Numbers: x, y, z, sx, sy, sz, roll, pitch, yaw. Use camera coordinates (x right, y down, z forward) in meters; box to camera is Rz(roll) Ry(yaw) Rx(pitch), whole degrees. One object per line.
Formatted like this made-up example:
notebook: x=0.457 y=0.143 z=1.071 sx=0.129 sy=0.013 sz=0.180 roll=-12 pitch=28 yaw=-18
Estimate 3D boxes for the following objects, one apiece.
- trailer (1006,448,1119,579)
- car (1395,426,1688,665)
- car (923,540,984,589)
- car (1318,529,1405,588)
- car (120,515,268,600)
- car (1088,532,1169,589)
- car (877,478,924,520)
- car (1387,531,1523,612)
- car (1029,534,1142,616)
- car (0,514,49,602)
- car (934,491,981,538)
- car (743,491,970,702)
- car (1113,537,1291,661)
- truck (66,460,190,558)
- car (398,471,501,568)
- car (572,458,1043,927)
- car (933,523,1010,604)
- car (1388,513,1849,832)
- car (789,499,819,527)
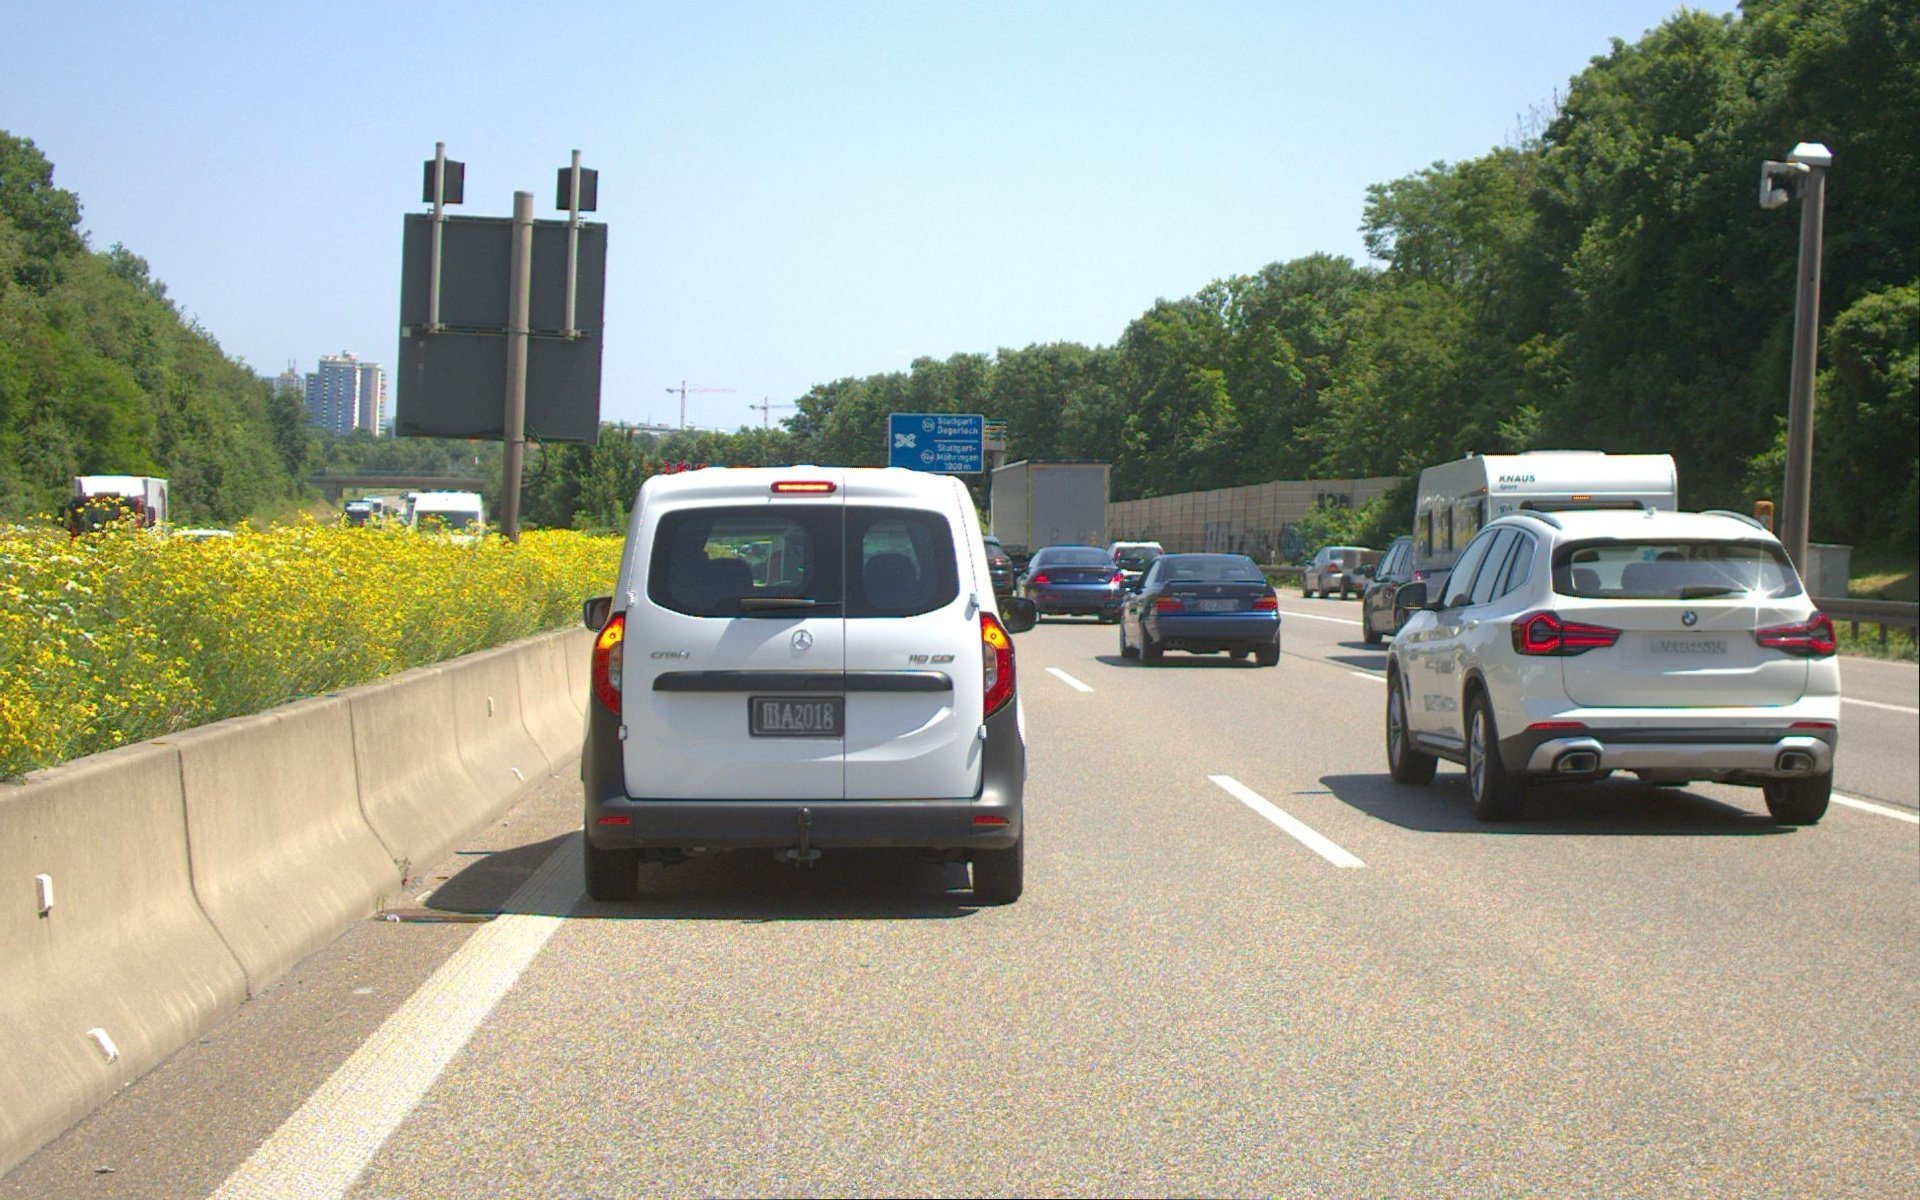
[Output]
trailer: x=3.203 y=-2.747 z=110.189 sx=3.082 sy=3.972 sz=10.324 roll=1 pitch=1 yaw=-1
car: x=7.187 y=-0.703 z=43.271 sx=2.479 sy=2.756 sz=6.220 roll=1 pitch=1 yaw=-1
car: x=-0.211 y=-1.126 z=107.700 sx=1.824 sy=1.442 sz=4.000 roll=1 pitch=1 yaw=-1
car: x=10.692 y=-1.118 z=91.694 sx=1.788 sy=1.514 sz=4.000 roll=1 pitch=1 yaw=-1
car: x=-14.656 y=-0.833 z=65.985 sx=1.993 sy=1.569 sz=4.000 roll=1 pitch=1 yaw=-1
car: x=4.346 y=-1.046 z=89.248 sx=1.824 sy=1.419 sz=4.000 roll=1 pitch=1 yaw=-1
car: x=-2.912 y=-4.922 z=167.944 sx=1.993 sy=2.007 sz=4.001 roll=0 pitch=1 yaw=-5
car: x=8.999 y=-0.543 z=62.791 sx=1.824 sy=1.419 sz=4.000 roll=1 pitch=1 yaw=-1
car: x=2.260 y=-0.480 z=62.694 sx=1.824 sy=1.419 sz=4.000 roll=1 pitch=1 yaw=-1
car: x=-18.059 y=-0.790 z=62.457 sx=1.993 sy=1.569 sz=4.000 roll=1 pitch=1 yaw=-1
car: x=-0.108 y=-3.757 z=151.251 sx=1.993 sy=2.007 sz=4.000 roll=0 pitch=1 yaw=-1
car: x=-0.955 y=-0.071 z=32.515 sx=1.993 sy=1.853 sz=4.000 roll=1 pitch=1 yaw=-1
car: x=2.933 y=-0.050 z=42.373 sx=1.824 sy=1.419 sz=4.000 roll=1 pitch=1 yaw=-1
truck: x=-26.533 y=-2.877 z=109.914 sx=2.406 sy=2.995 sz=7.460 roll=1 pitch=1 yaw=-2
car: x=-13.781 y=-2.176 z=93.147 sx=1.993 sy=2.533 sz=5.909 roll=1 pitch=1 yaw=-1
car: x=-0.652 y=0.316 z=15.324 sx=1.802 sy=1.802 sz=4.001 roll=1 pitch=1 yaw=-2
car: x=0.268 y=-0.944 z=86.937 sx=1.824 sy=1.982 sz=4.000 roll=1 pitch=1 yaw=-1
car: x=3.595 y=0.328 z=19.449 sx=1.871 sy=1.603 sz=3.879 roll=1 pitch=1 yaw=1
car: x=-11.034 y=-6.151 z=243.354 sx=1.993 sy=2.007 sz=4.000 roll=1 pitch=1 yaw=-1
